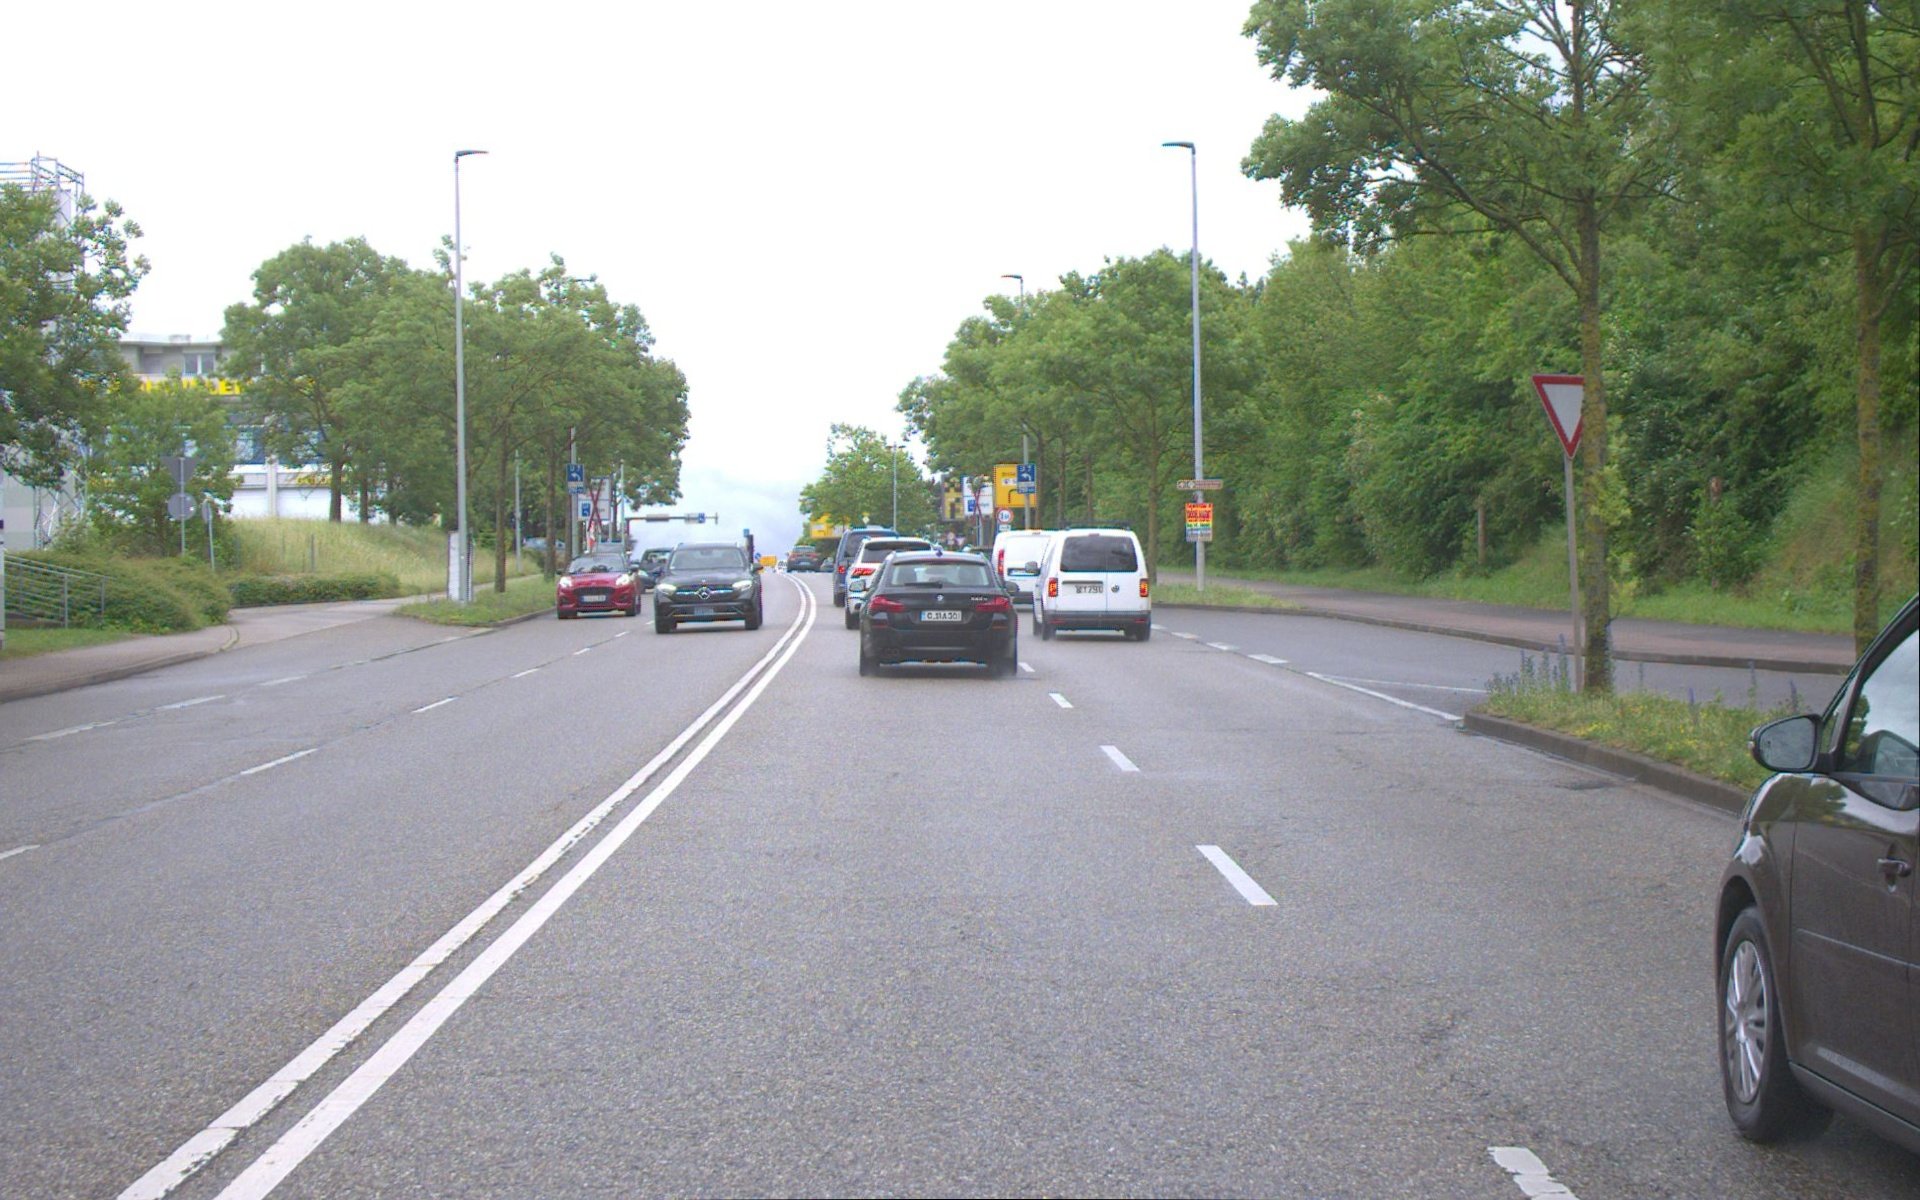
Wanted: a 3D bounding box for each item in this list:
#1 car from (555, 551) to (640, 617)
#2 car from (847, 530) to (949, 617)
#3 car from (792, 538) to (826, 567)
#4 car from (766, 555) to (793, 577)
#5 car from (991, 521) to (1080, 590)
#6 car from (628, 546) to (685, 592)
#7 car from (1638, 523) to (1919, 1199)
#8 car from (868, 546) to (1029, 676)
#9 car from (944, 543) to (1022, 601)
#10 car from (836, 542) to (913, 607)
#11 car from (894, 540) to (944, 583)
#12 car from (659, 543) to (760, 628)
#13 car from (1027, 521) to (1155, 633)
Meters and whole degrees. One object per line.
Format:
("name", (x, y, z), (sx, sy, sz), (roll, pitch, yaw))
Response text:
("car", (-8.477, -0.375, 80.666), (1.794, 1.505, 4.000), (1, 0, -4))
("car", (-1.155, -0.471, 62.722), (1.794, 1.505, 4.000), (1, 0, -2))
("car", (-8.186, -2.577, 186.159), (1.794, 1.505, 4.000), (1, 0, -2))
("car", (-12.483, -2.332, 237.555), (1.794, 1.505, 4.000), (1, 0, -2))
("car", (1.701, -1.001, 78.304), (1.794, 1.505, 4.000), (1, 0, -2))
("car", (-10.142, -1.033, 114.978), (1.794, 1.505, 4.000), (1, 0, -4))
("car", (2.813, 0.638, 7.360), (1.685, 1.575, 4.219), (1, 1, -3))
("car", (-0.133, 0.091, 41.161), (1.827, 1.463, 4.000), (0, 1, 0))
("car", (0.596, -0.755, 93.127), (1.794, 1.505, 4.000), (1, 0, -4))
("car", (-2.045, -0.611, 82.856), (1.794, 1.505, 4.000), (1, 0, -1))
("car", (-1.488, -1.380, 125.545), (1.794, 1.505, 4.000), (1, 0, -1))
("car", (-4.630, -0.263, 63.758), (1.794, 1.505, 4.000), (1, 0, -4))
("car", (2.113, -0.398, 56.377), (1.827, 1.753, 4.000), (1, 1, -1))
